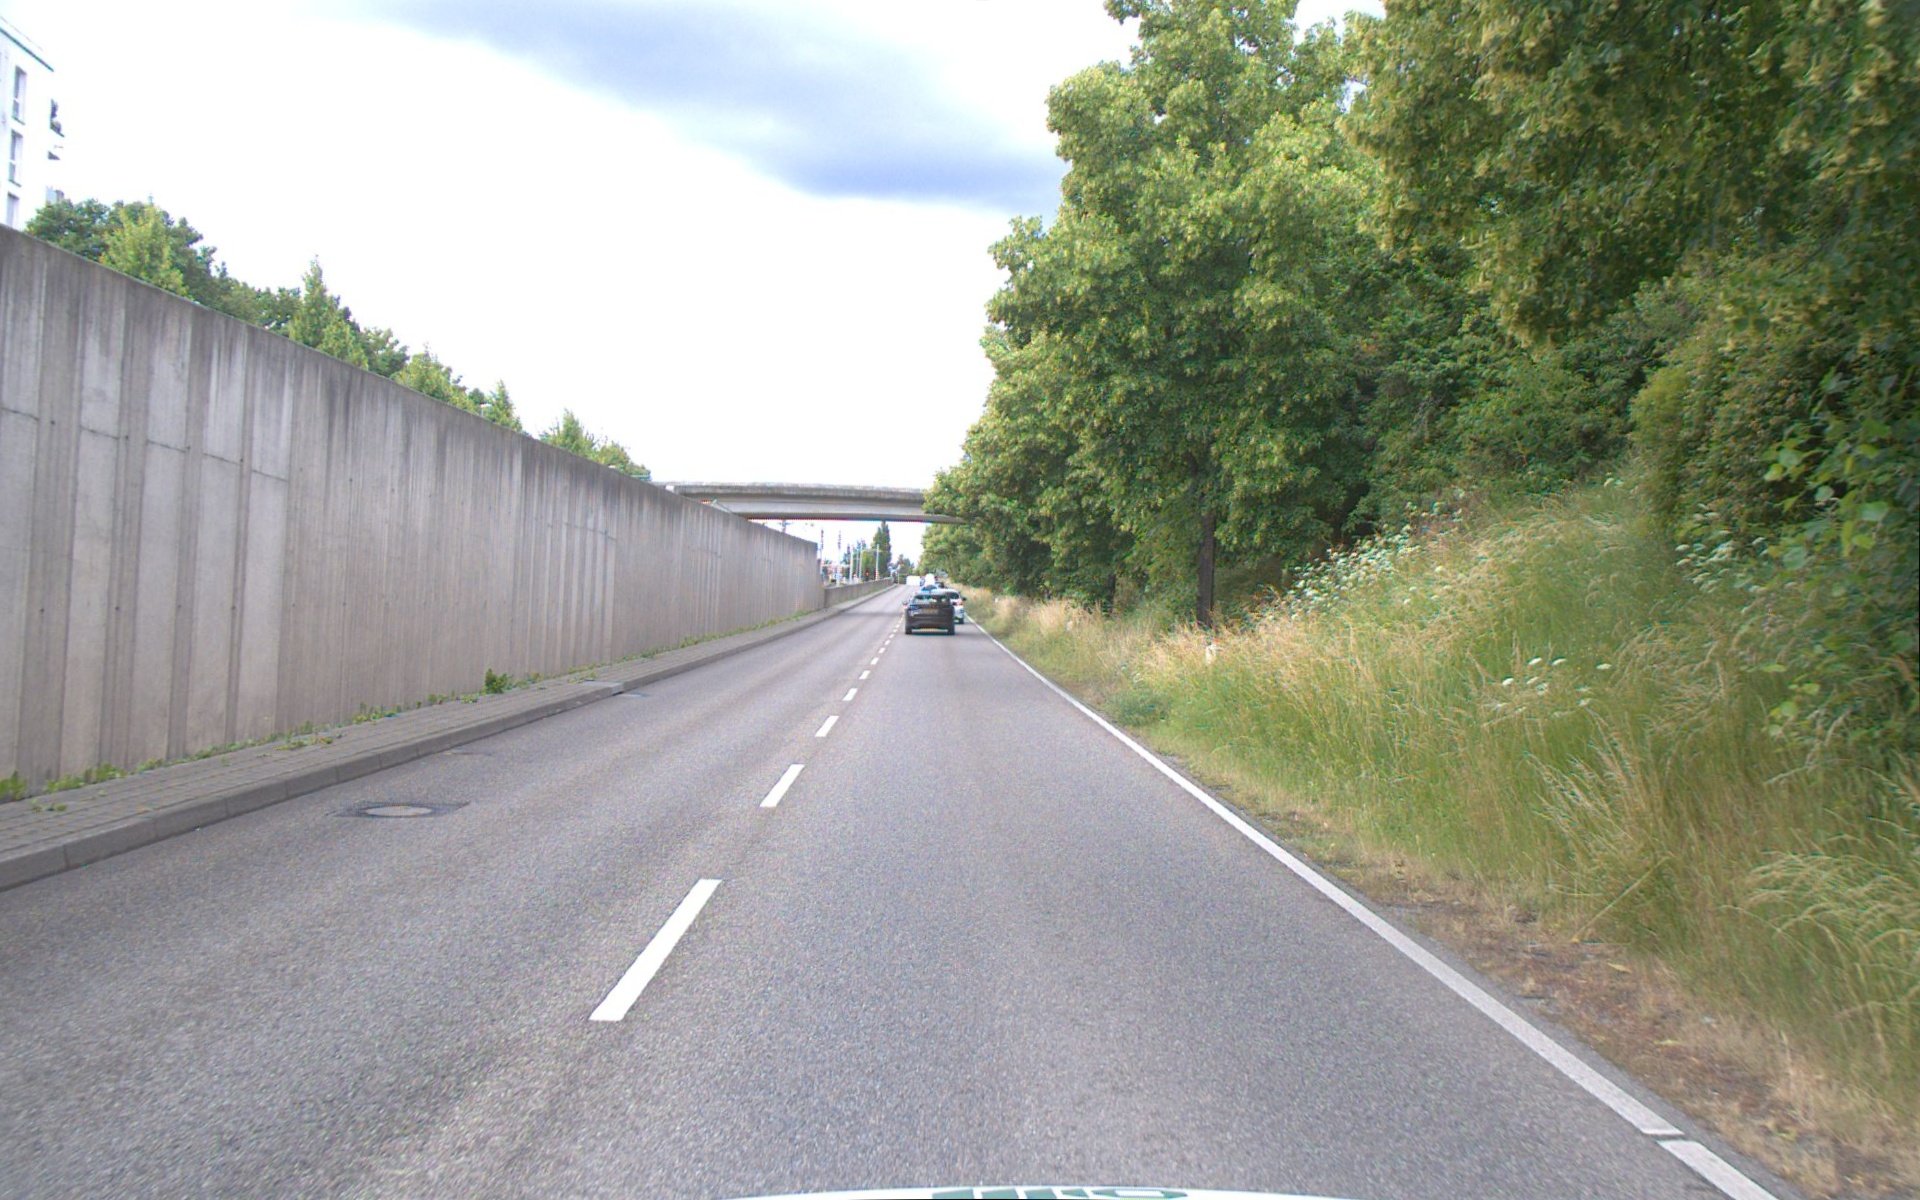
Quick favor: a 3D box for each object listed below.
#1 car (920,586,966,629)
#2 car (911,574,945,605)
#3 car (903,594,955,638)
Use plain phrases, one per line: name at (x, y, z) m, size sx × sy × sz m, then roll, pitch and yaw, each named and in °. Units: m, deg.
car at (-0.764, 0.319, 72.469) m, size 1.953 × 1.783 × 3.999 m, roll 1°, pitch 0°, yaw -1°
car at (-1.876, -0.597, 96.933) m, size 1.953 × 1.771 × 3.999 m, roll 1°, pitch 0°, yaw -1°
car at (-1.090, 0.532, 58.132) m, size 1.745 × 1.493 × 3.999 m, roll 1°, pitch 0°, yaw -1°
